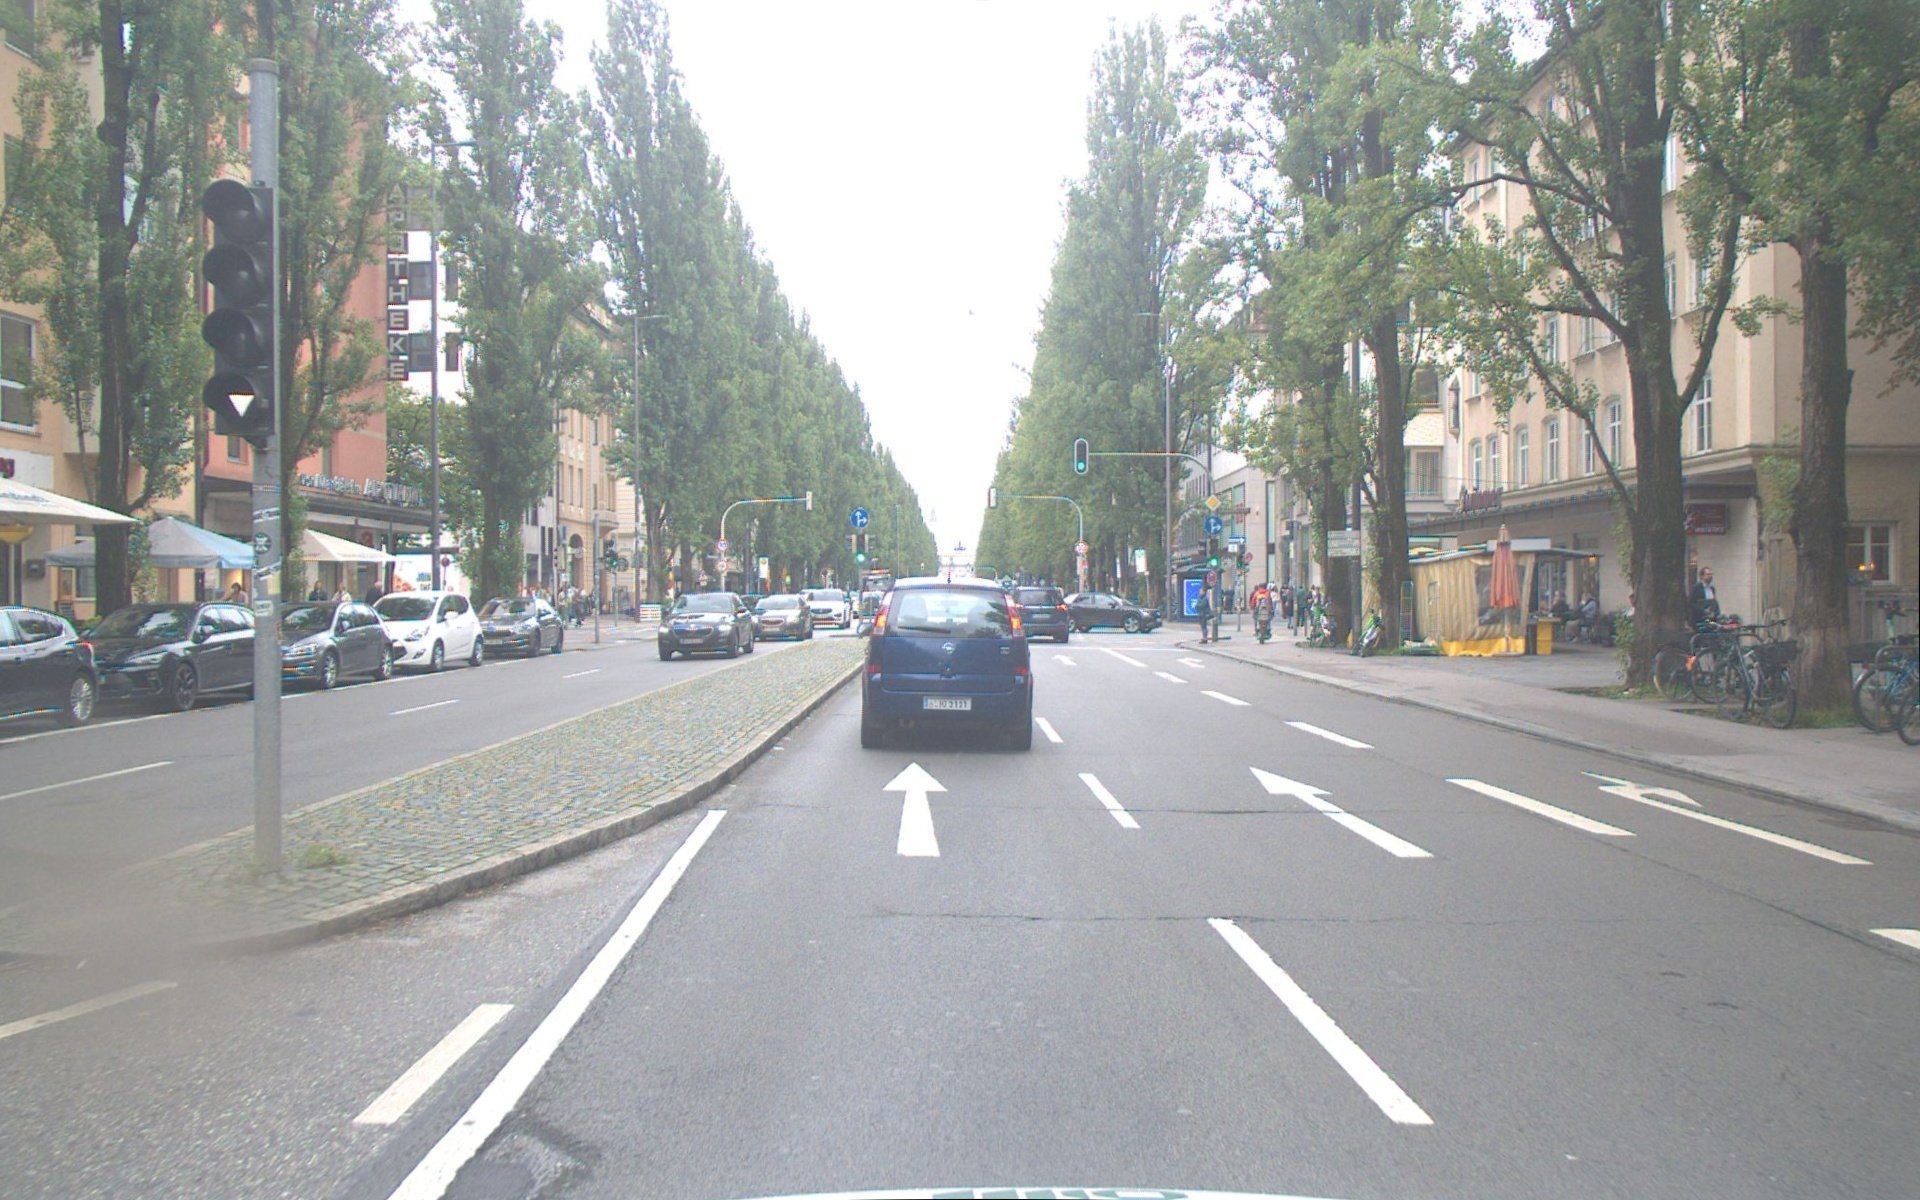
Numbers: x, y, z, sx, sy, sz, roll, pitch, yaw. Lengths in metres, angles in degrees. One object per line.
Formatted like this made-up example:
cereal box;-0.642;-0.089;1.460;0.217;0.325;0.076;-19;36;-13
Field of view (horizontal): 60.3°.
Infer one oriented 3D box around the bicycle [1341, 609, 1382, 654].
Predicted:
bicycle;9.407;0.721;38.795;0.498;0.992;1.770;0;0;-2

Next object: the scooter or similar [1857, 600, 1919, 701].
scooter or similar;12.244;0.647;21.840;0.242;1.295;1.036;0;0;0

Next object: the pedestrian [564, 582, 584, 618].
pedestrian;-18.874;-0.004;80.958;0.717;1.711;0.977;1;0;0

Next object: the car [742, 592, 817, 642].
car;-5.545;0.501;51.213;1.799;1.385;4.176;-2;0;0

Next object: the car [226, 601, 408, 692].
car;-10.964;0.751;28.499;1.463;1.406;4.186;-2;0;0

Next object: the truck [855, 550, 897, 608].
truck;-5.600;-1.374;111.640;2.413;3.734;8.439;0;0;0

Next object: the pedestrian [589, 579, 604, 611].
pedestrian;-21.269;-0.299;96.856;0.684;1.818;0.820;0;0;1

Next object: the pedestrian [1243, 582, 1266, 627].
pedestrian;12.332;0.190;69.300;0.801;1.849;0.890;0;0;-2

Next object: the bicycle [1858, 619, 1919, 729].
bicycle;10.301;0.761;17.416;1.631;1.126;0.395;-1;0;-13

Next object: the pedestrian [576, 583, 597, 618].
pedestrian;-17.217;0.022;76.317;0.735;1.594;0.989;1;0;-3

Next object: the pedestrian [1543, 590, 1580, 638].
pedestrian;16.360;0.378;44.998;0.759;1.286;0.699;0;0;0

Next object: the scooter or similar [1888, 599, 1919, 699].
scooter or similar;12.669;0.640;21.775;0.323;1.295;1.036;0;0;0

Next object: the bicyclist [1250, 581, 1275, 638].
bicyclist;8.642;0.271;47.222;0.609;1.616;0.481;-1;0;-1

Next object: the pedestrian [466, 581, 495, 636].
pedestrian;-15.886;0.289;54.809;0.709;1.802;0.778;0;0;1

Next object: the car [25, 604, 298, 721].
car;-11.059;0.798;23.289;1.668;1.437;4.433;-2;0;0

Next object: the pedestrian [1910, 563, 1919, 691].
pedestrian;13.411;0.363;22.441;0.643;1.740;0.691;0;0;-2

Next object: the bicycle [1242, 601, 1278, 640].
bicycle;8.640;0.575;47.714;0.614;1.106;2.263;-1;0;-1

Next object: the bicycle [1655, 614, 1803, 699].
bicycle;10.278;0.756;22.106;1.961;1.102;0.285;1;0;-9

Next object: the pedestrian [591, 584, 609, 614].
pedestrian;-19.774;-0.042;90.810;0.762;1.647;0.934;0;0;-1

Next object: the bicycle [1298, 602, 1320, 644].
bicycle;9.638;0.631;45.647;0.396;1.088;1.812;5;1;15

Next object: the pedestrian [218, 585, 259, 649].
pedestrian;-19.551;0.458;44.823;0.764;1.697;0.802;0;0;-1

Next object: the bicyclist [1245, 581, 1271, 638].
bicyclist;8.632;0.273;47.931;0.609;1.616;0.753;-1;0;-1

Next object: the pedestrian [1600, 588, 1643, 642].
pedestrian;16.152;0.360;40.393;0.759;1.286;0.699;0;0;0

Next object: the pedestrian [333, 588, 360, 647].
pedestrian;-18.483;0.521;49.810;0.543;1.747;0.692;0;0;-1

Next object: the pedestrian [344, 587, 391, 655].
pedestrian;-16.241;0.579;45.370;0.720;1.827;0.993;1;0;18

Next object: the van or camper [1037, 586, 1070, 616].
van or camper;6.038;0.063;107.321;1.830;1.916;4.903;0;0;0

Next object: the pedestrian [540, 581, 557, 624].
pedestrian;-16.713;0.104;67.153;0.574;1.720;0.514;0;0;0

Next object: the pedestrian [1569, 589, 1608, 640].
pedestrian;16.271;0.371;42.834;0.759;1.286;0.699;0;0;0

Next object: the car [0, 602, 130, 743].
car;-10.979;0.789;18.020;1.643;1.492;4.370;-2;0;0

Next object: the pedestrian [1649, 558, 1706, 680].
pedestrian;11.985;0.309;27.641;0.642;2.005;0.722;-1;0;3

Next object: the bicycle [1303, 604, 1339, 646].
bicycle;9.487;0.637;43.533;0.498;1.066;1.770;0;0;-2

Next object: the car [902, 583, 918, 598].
car;-6.082;-1.150;200.740;1.874;1.710;4.586;0;0;0

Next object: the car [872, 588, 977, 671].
car;-0.686;0.530;32.846;1.953;1.523;3.999;0;0;-1

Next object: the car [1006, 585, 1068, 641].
car;2.307;0.365;50.480;1.671;1.601;4.000;0;0;-1

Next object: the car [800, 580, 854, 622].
car;-5.515;0.022;68.978;1.806;1.664;4.576;-2;0;1

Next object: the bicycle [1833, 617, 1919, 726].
bicycle;10.215;0.754;17.816;1.644;1.137;0.285;-1;0;-13

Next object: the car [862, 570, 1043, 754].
car;-0.100;0.556;17.140;1.647;1.670;3.999;1;0;-1

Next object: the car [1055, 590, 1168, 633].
car;5.784;0.432;63.117;3.910;1.487;1.757;-2;0;28

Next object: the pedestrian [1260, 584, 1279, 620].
pedestrian;15.471;0.089;82.653;0.734;1.788;1.017;0;0;1

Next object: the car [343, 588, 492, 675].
car;-11.030;0.610;33.888;1.668;1.611;4.095;-2;0;0

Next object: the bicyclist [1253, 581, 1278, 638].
bicyclist;8.648;0.271;46.774;0.609;1.616;0.391;-1;0;-1

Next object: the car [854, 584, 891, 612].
car;-4.990;-0.131;94.694;1.806;1.528;4.986;-1;0;0

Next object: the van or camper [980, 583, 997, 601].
van or camper;4.253;-1.184;243.906;2.426;2.626;5.844;-1;0;0

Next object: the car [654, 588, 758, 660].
car;-5.742;0.516;37.785;1.721;1.491;4.050;-2;0;0

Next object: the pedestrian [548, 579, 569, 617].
pedestrian;-19.644;-0.115;80.943;0.783;1.818;0.912;1;0;0

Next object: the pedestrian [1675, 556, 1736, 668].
pedestrian;12.712;0.196;28.209;0.643;1.883;0.906;0;0;2

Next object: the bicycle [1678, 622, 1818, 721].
bicycle;9.340;0.818;19.687;0.425;1.080;2.000;0;0;-10

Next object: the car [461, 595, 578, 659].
car;-10.936;0.636;41.359;1.668;1.463;4.590;-2;0;0

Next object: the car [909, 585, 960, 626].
car;-0.994;0.194;64.902;1.953;1.523;3.999;0;0;-1

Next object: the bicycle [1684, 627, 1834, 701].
bicycle;10.509;0.839;21.752;1.961;0.961;0.285;0;0;-9

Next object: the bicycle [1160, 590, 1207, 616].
bicycle;11.230;0.161;83.045;2.295;1.274;0.633;0;0;-1

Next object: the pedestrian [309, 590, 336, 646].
pedestrian;-19.071;0.524;49.485;0.543;1.667;0.692;0;0;-1

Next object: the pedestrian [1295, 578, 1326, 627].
pedestrian;12.543;0.102;59.113;0.661;1.732;0.847;1;-3;-44

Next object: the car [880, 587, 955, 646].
car;-1.148;0.415;45.356;1.953;1.523;3.999;0;0;-1

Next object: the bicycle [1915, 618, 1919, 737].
bicycle;10.287;0.751;16.172;1.830;1.155;0.339;-1;0;-9

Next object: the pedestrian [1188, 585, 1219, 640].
pedestrian;7.323;0.378;49.684;0.750;1.638;0.864;0;0;-4

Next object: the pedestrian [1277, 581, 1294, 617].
pedestrian;16.301;-0.052;82.885;0.734;1.788;0.711;0;0;1
